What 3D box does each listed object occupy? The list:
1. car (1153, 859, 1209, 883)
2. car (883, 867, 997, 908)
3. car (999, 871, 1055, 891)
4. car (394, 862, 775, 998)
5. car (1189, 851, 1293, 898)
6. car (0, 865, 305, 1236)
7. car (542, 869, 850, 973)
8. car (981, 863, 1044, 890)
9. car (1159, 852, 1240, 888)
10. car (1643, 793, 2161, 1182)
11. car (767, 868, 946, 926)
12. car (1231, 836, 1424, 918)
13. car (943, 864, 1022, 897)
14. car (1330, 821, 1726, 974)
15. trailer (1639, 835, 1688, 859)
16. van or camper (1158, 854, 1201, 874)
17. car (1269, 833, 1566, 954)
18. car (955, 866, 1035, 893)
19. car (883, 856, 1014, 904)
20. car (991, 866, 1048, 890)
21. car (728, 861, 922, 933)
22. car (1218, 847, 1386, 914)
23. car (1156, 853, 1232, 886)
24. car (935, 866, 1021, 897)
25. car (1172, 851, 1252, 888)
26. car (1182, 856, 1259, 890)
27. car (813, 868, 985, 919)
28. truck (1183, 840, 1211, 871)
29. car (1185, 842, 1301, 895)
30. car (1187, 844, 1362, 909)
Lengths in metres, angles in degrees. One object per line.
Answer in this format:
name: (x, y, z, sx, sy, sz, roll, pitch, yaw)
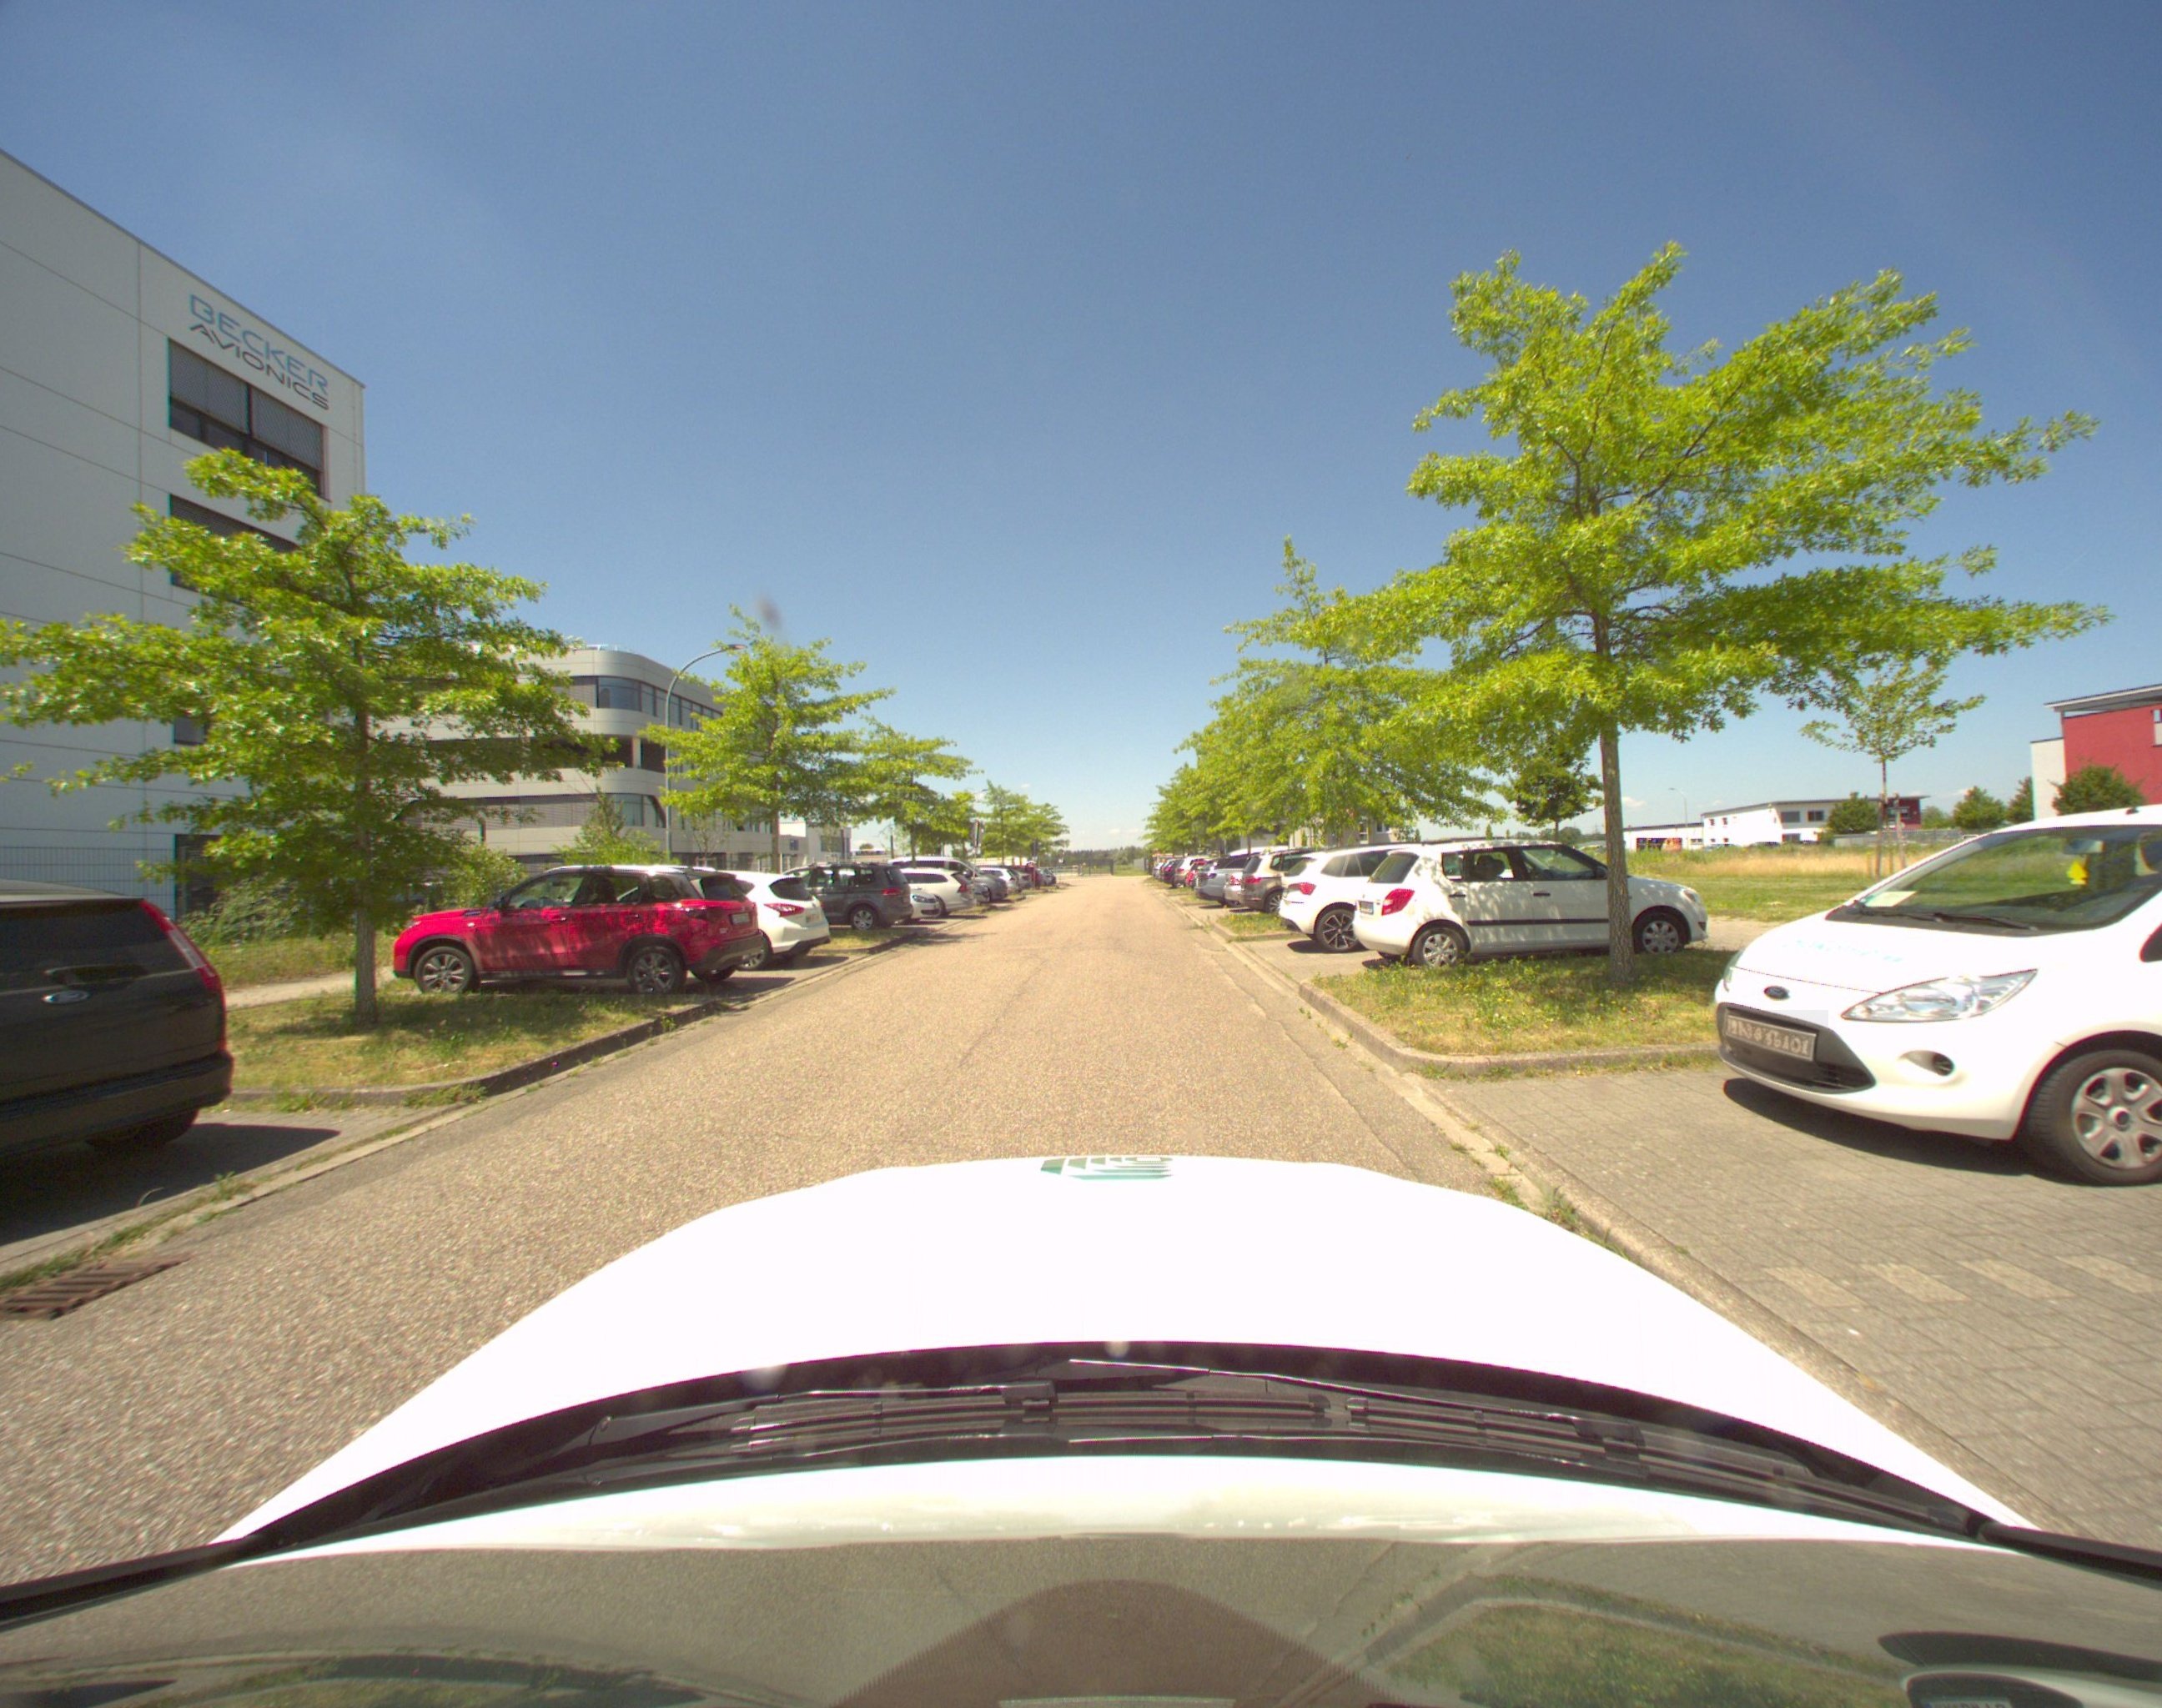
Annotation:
car: (8.016, 1.373, 65.602, 4.262, 1.644, 1.852, -4, -1, 2)
car: (-5.312, 1.237, 30.999, 3.953, 1.484, 1.765, 0, -1, 2)
car: (-4.030, 1.994, 60.840, 4.064, 1.424, 1.872, 0, -1, -2)
car: (-6.214, 0.903, 10.525, 3.826, 1.592, 1.727, 0, -1, 0)
car: (6.021, 0.786, 31.009, 3.616, 1.503, 1.677, -4, -1, 3)
car: (-6.594, 0.865, 4.012, 3.892, 1.592, 1.728, 0, -1, 1)
car: (-6.128, 1.021, 13.267, 4.154, 1.513, 1.809, 0, 0, 3)
car: (-4.277, 1.422, 51.345, 3.722, 1.621, 1.818, 0, -1, 3)
car: (6.520, 0.898, 44.994, 4.158, 1.696, 1.782, -4, -1, 1)
car: (5.137, 0.446, 3.963, 3.603, 1.463, 1.612, -4, 0, 2)
car: (-5.938, 1.130, 21.867, 4.297, 1.473, 1.727, 0, -1, 0)
car: (5.744, 0.534, 19.333, 4.030, 1.625, 1.694, -4, -1, 3)
car: (-5.106, 1.370, 42.655, 3.977, 1.679, 1.775, 0, -1, -3)
car: (5.257, 0.503, 10.002, 3.819, 1.524, 1.780, -3, -1, 2)
trailer: (67.439, -0.755, 94.329, 3.973, 2.600, 2.233, -2, -1, 1)
van or camper: (11.946, 1.212, 98.853, 4.918, 2.163, 2.001, -2, 0, 1)
car: (4.939, 0.576, 12.437, 3.813, 1.553, 1.783, -3, 0, 8)
car: (-4.695, 1.407, 44.991, 4.176, 1.480, 1.714, 0, -1, 2)
car: (-5.470, 1.079, 33.990, 5.047, 1.892, 1.999, -1, -1, 3)
car: (-4.061, 1.592, 53.953, 3.646, 1.508, 1.730, 0, -1, -2)
car: (-6.082, 1.006, 19.662, 4.102, 1.634, 1.728, 0, -1, 1)
car: (5.819, 0.695, 21.825, 4.030, 1.453, 1.647, -4, -1, 3)
car: (7.070, 0.980, 51.292, 4.434, 1.768, 1.993, -3, -1, 0)
car: (-5.013, 1.327, 39.929, 4.025, 1.461, 1.604, 0, -1, -1)
car: (6.745, 0.809, 42.277, 3.860, 1.678, 1.783, -4, -1, 2)
car: (6.818, 0.924, 40.046, 3.444, 1.417, 1.755, -4, -1, 2)
car: (-5.318, 1.148, 24.275, 4.699, 1.447, 1.857, 0, -1, -1)
truck: (15.637, 0.241, 110.478, 2.910, 3.929, 6.938, -2, -1, 2)
car: (6.622, 0.603, 33.625, 4.384, 1.830, 1.797, -4, -1, 3)
car: (5.696, 0.665, 24.402, 4.703, 1.561, 1.912, -4, -1, -2)
